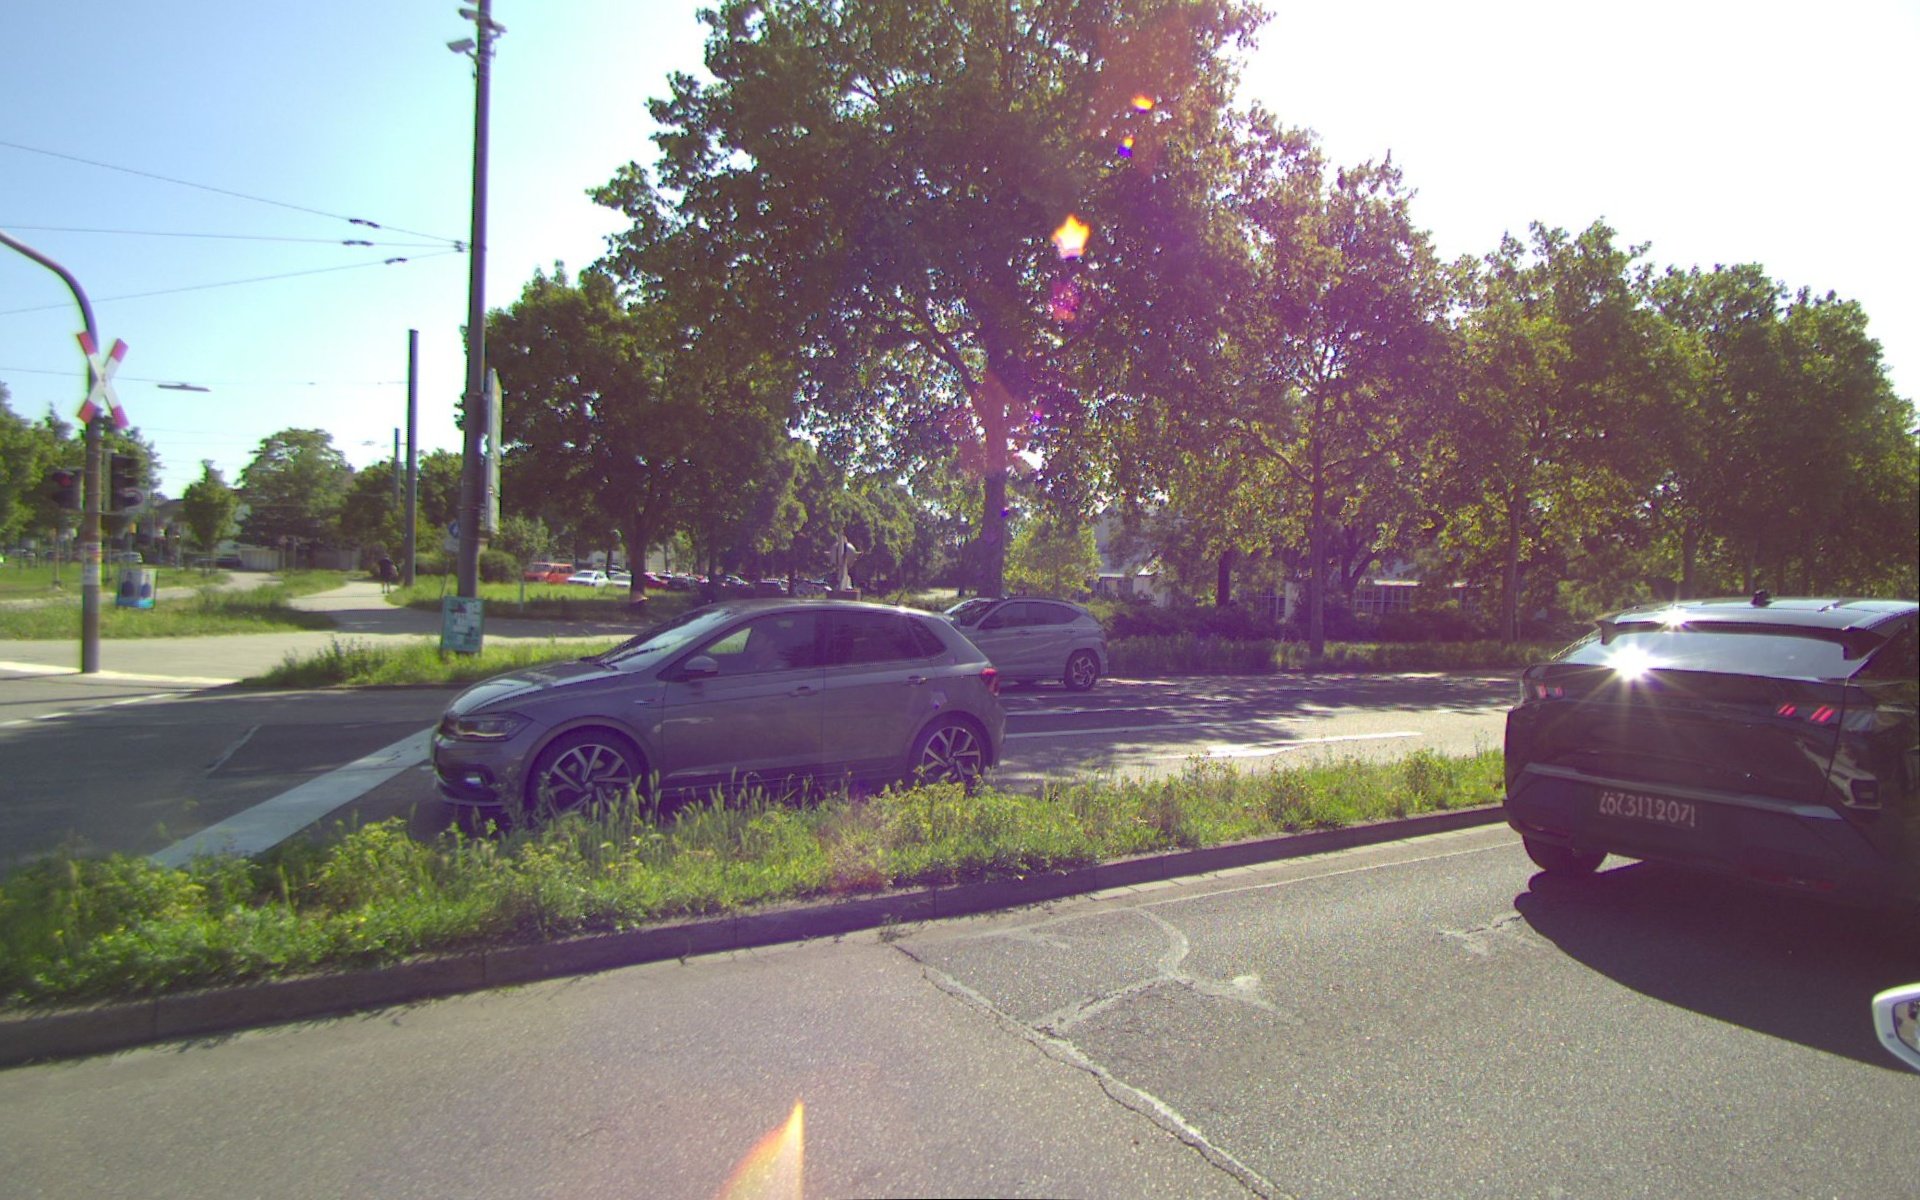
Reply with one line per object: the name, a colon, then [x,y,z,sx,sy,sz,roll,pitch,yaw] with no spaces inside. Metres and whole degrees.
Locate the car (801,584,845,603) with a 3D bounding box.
car: [-12.588,-0.598,92.504,3.925,1.511,1.816,2,0,-6]

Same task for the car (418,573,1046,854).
car: [-1.546,0.655,7.248,4.082,1.528,1.685,2,1,-31]

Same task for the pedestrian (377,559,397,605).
pedestrian: [-25.833,-0.793,45.319,0.703,2.041,0.790,1,1,-27]

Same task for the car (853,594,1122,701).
car: [0.532,0.766,17.015,4.386,1.610,1.698,2,-1,-33]

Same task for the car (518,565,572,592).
car: [-27.746,-1.409,67.318,1.779,1.725,3.988,3,1,2]

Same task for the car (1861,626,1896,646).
car: [78.378,3.058,85.697,4.363,1.577,1.778,2,0,-42]

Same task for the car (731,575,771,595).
car: [-21.885,-1.548,105.268,3.853,1.863,1.769,2,1,-3]

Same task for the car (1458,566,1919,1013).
car: [5.056,0.766,5.834,4.386,1.719,1.862,1,0,-32]

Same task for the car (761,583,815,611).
car: [-13.567,-0.233,79.312,3.923,2.040,1.817,2,0,-3]

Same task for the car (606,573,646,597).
car: [-22.227,-0.986,66.927,1.419,1.466,3.342,3,1,2]

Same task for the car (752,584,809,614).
car: [-13.521,-0.080,75.762,3.923,2.040,1.817,2,0,-3]

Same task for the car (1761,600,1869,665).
car: [37.394,1.433,43.840,7.150,2.648,2.046,2,-1,-37]

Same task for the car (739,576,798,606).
car: [-13.917,-0.630,73.070,3.923,2.040,1.817,2,0,-3]

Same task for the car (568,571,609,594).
car: [-24.788,-1.143,67.076,1.322,1.466,3.342,3,1,2]

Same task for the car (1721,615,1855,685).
car: [24.168,1.422,29.258,4.942,1.863,1.675,2,0,-34]
